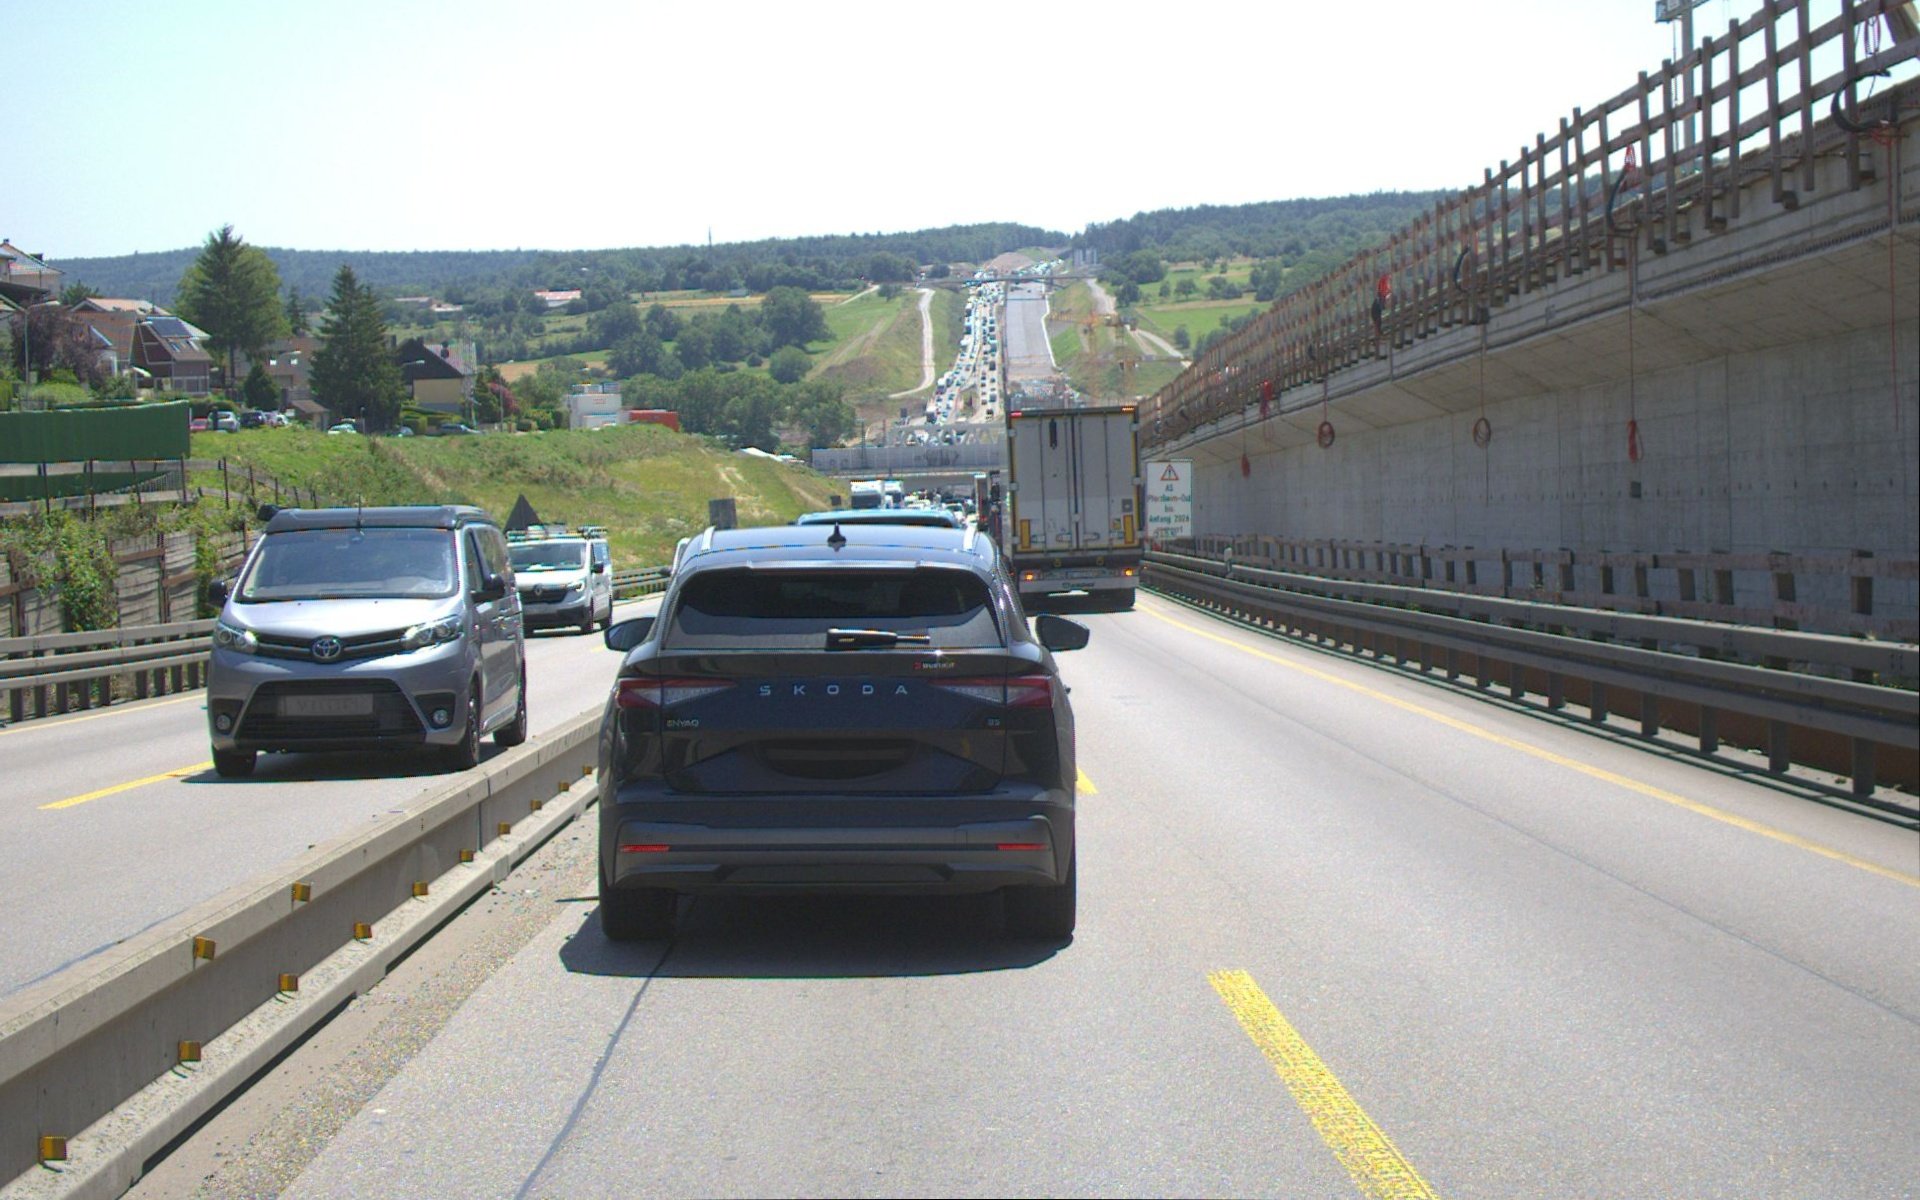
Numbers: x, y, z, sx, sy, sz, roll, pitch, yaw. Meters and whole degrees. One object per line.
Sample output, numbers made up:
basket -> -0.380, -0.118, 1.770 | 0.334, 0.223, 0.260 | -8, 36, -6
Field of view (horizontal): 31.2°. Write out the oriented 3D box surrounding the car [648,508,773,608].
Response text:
car -> -4.917, -0.825, 68.516 | 2.157, 1.899, 5.326 | -1, 1, -1

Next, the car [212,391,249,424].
car -> -42.671, -11.254, 201.238 | 1.924, 1.722, 4.001 | -2, 1, -10

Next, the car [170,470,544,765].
car -> -4.508, 0.096, 26.467 | 1.993, 2.007, 4.969 | -1, 1, 0

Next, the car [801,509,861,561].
car -> -4.121, -2.091, 110.337 | 1.774, 1.628, 4.100 | -1, 1, -1

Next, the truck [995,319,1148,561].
truck -> 2.220, -3.169, 72.661 | 2.846, 4.599, 11.811 | -1, 1, 1

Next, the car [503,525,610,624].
car -> -8.140, -0.543, 69.763 | 1.825, 1.919, 5.244 | -1, 1, -3

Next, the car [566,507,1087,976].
car -> -0.502, 0.466, 14.052 | 1.782, 1.592, 3.755 | -2, 1, -1

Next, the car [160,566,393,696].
car -> -8.137, 0.331, 41.283 | 1.993, 1.437, 4.364 | 1, 1, -1

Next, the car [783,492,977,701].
car -> -0.793, -0.066, 32.886 | 1.749, 1.888, 3.756 | 0, 1, -2
